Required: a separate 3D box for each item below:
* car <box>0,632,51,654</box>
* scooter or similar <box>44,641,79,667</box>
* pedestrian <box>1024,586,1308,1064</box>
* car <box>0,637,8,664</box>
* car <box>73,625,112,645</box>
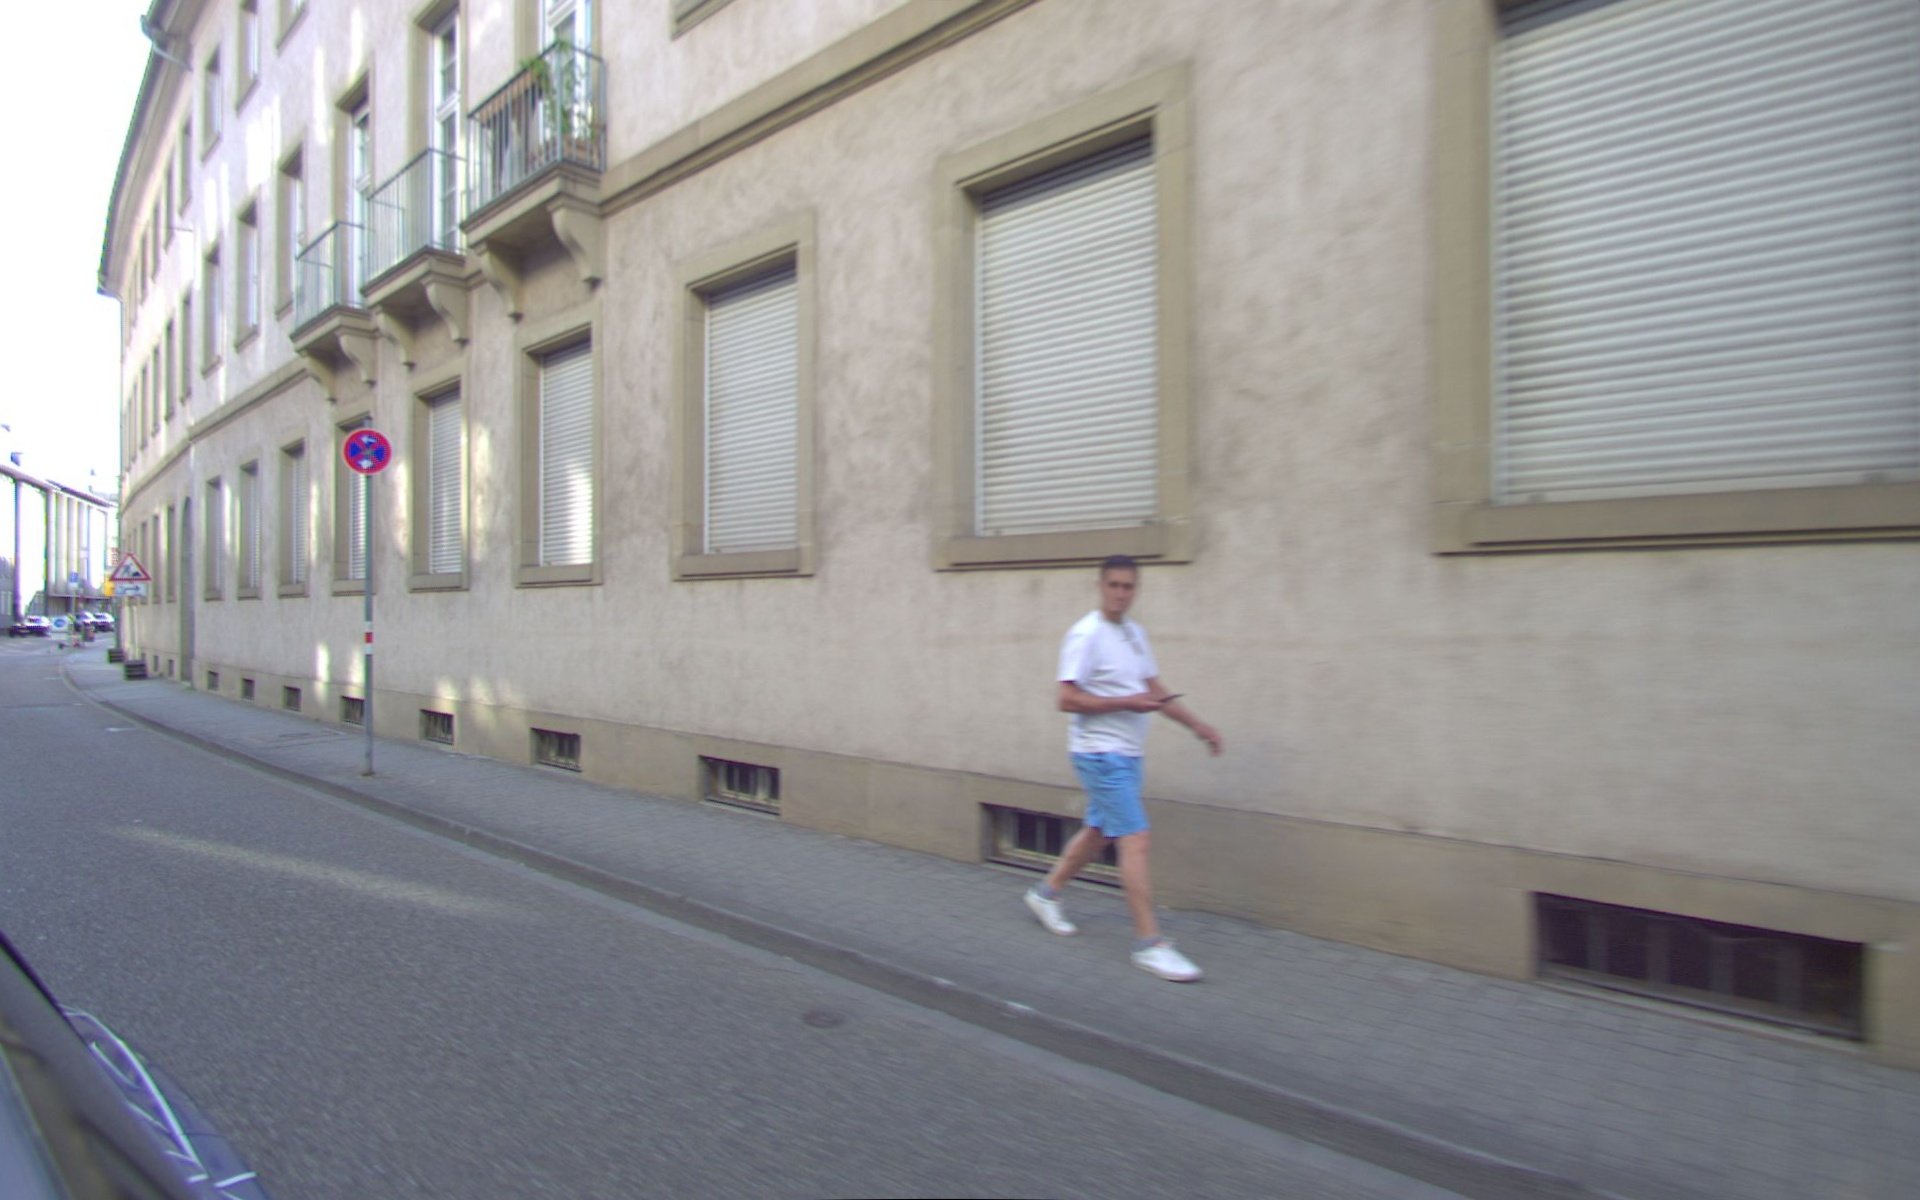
[{"bbox_3d":[-64.713,2.967,70.086,1.933,1.419,4.208,-1,-1,-32],"label":"car"},{"bbox_3d":[-42.452,2.553,47.847,0.461,1.234,1.300,1,-4,-2],"label":"scooter or similar"},{"bbox_3d":[0.832,0.795,4.113,0.875,1.682,0.685,-2,-1,42],"label":"pedestrian"},{"bbox_3d":[-59.141,3.130,61.109,1.748,1.595,3.866,-4,1,-34],"label":"car"},{"bbox_3d":[-74.808,3.016,87.346,1.933,1.659,4.208,-1,-1,-32],"label":"car"}]
